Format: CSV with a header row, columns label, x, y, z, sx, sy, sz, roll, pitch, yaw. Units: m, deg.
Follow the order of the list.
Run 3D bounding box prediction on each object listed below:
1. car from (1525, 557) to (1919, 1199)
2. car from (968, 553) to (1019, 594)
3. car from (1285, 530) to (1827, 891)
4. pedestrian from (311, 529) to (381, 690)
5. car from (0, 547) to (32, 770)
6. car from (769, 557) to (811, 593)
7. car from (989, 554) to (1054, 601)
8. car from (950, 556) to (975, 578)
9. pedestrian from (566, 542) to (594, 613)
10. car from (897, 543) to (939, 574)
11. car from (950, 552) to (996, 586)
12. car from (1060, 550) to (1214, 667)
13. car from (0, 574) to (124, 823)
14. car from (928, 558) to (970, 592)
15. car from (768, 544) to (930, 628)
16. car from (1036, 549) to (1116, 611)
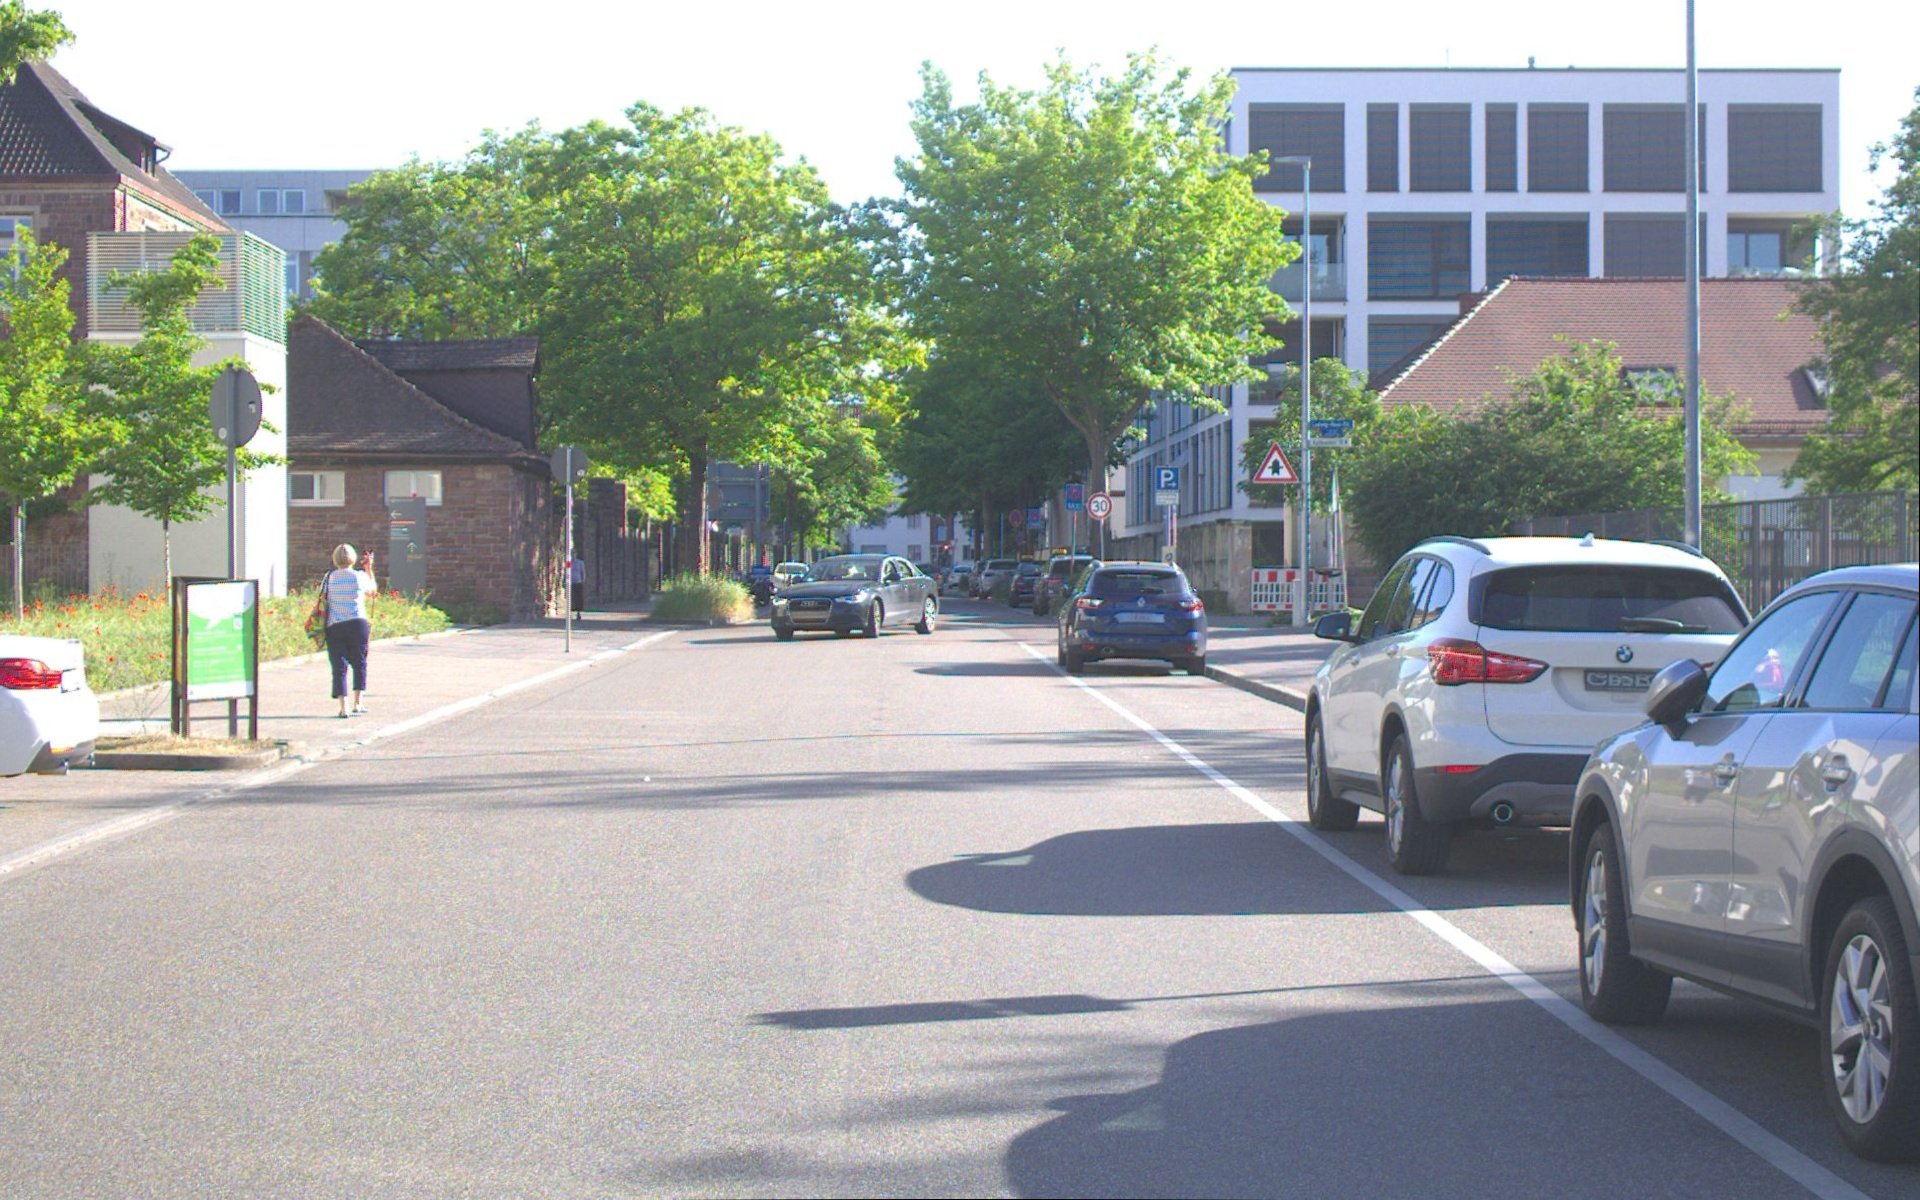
label,x,y,z,sx,sy,sz,roll,pitch,yaw
car,2.941,0.654,9.899,1.700,1.482,3.981,1,1,-4
car,1.294,-1.055,135.436,1.950,1.573,3.836,0,1,0
car,2.888,0.459,17.612,1.812,1.583,4.263,1,1,-3
pedestrian,-5.845,0.084,32.752,0.538,1.518,0.607,0,1,0
car,-8.193,0.351,22.933,3.634,1.464,1.614,1,1,-6
car,-7.205,-1.070,146.084,1.767,1.482,4.000,0,1,-2
car,1.882,-0.703,106.492,1.767,1.435,4.000,0,1,-2
car,0.138,-2.068,216.501,1.585,1.395,3.836,0,1,0
pedestrian,-8.430,-0.510,76.325,0.521,1.557,1.096,0,1,-2
car,-1.945,-1.933,158.938,1.889,1.395,3.836,0,1,0
car,0.566,-1.368,151.529,1.993,1.460,3.836,0,1,0
car,2.294,0.071,45.464,1.818,1.448,4.214,0,1,0
car,-7.325,0.478,20.080,4.511,1.362,1.700,2,1,-6
car,-0.526,-1.157,156.417,1.767,1.543,4.066,0,1,-2
car,-1.927,-0.278,61.182,1.763,1.437,4.535,0,1,13
car,2.844,-0.509,85.293,1.703,1.463,4.789,0,1,-1
